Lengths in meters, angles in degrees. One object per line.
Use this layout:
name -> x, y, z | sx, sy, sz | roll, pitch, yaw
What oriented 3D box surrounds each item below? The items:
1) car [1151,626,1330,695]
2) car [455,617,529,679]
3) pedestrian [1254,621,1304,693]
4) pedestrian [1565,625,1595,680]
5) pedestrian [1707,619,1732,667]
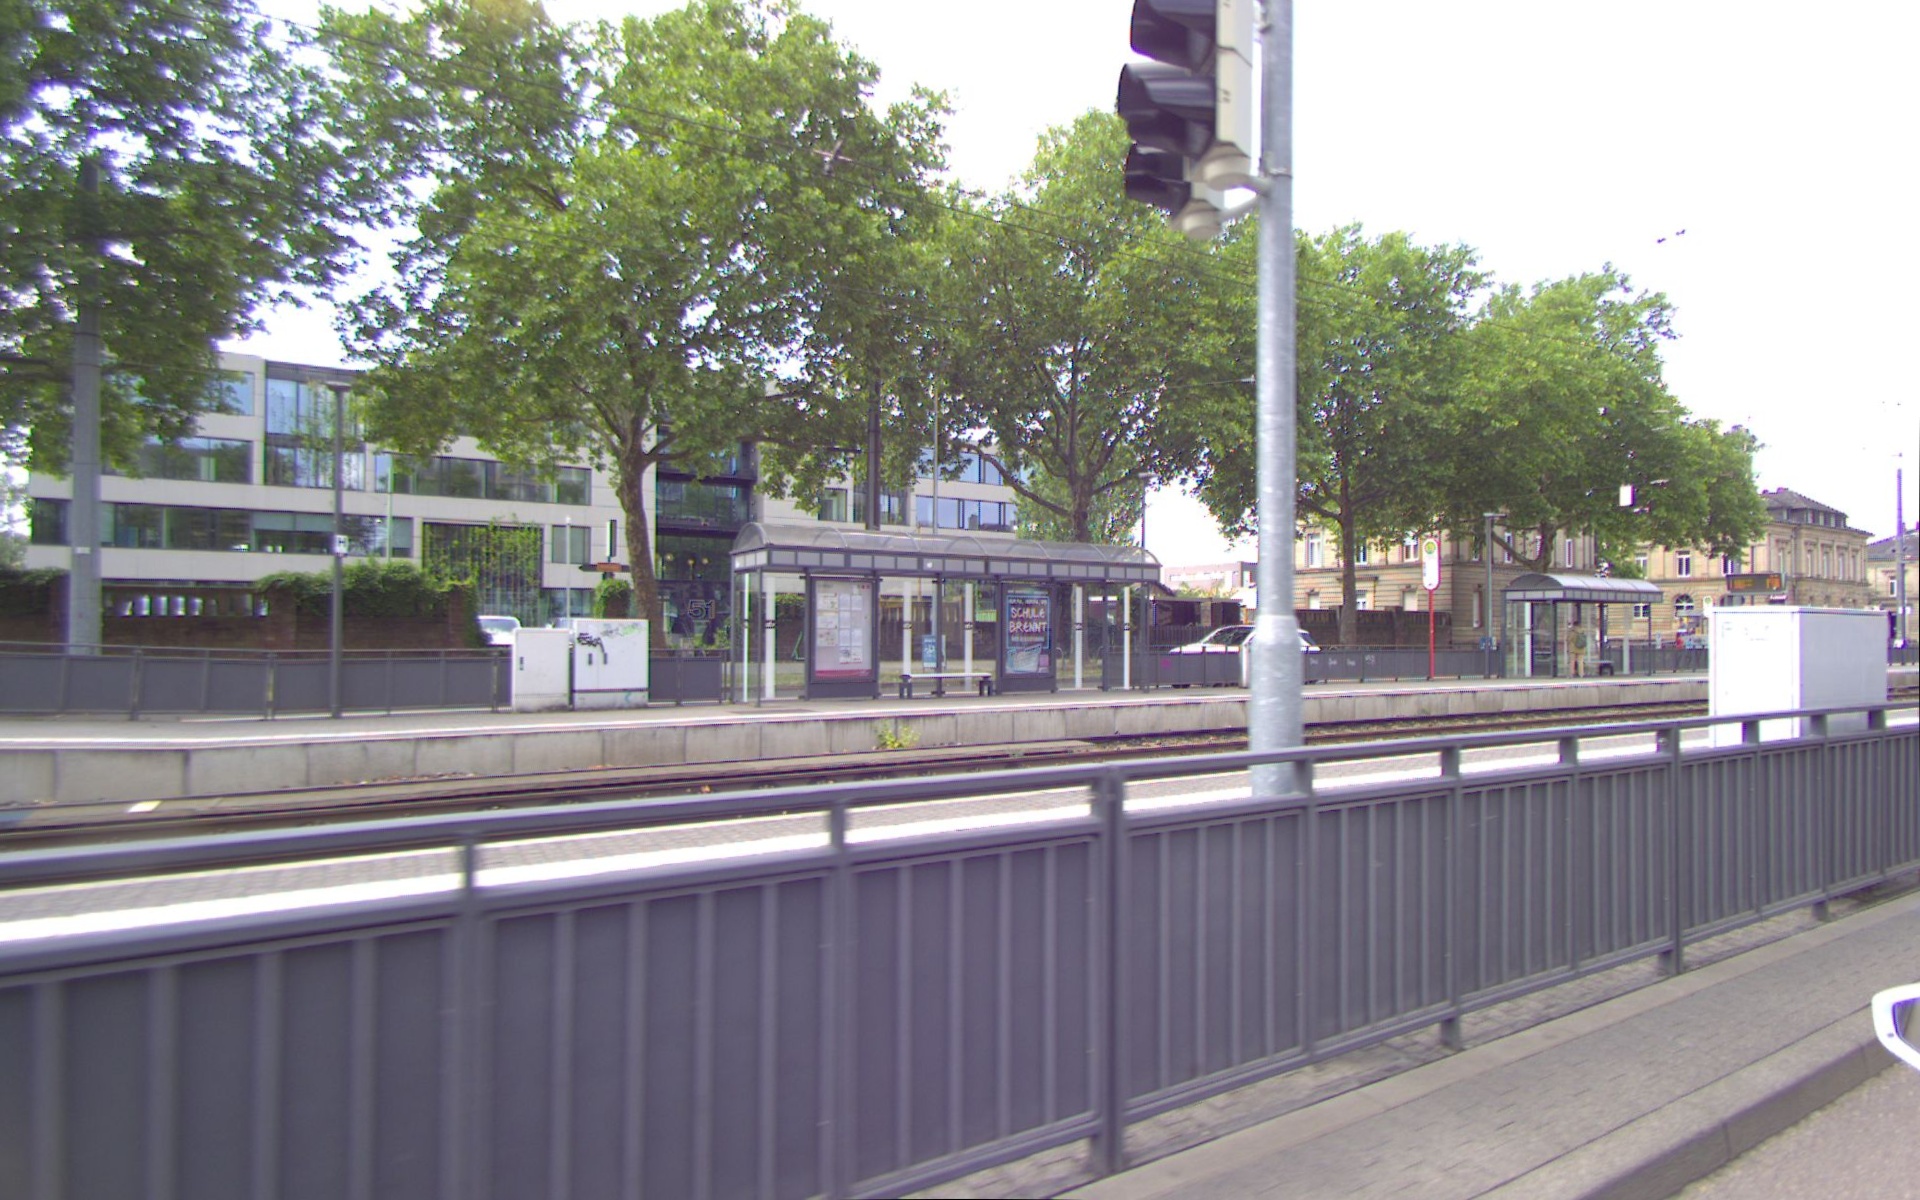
car -> 7.671, 1.610, 27.319 | 4.766, 1.727, 1.983 | 2, -2, -31
car -> -16.551, 1.711, 35.418 | 1.914, 2.014, 4.803 | 2, -4, -30
pedestrian -> 6.964, 1.230, 21.909 | 0.795, 1.532, 0.697 | 1, -2, -34
pedestrian -> 18.056, 1.524, 29.264 | 0.635, 1.579, 0.498 | 1, -1, -30
pedestrian -> 26.949, 1.520, 35.623 | 0.635, 1.705, 0.498 | 1, -1, -30
